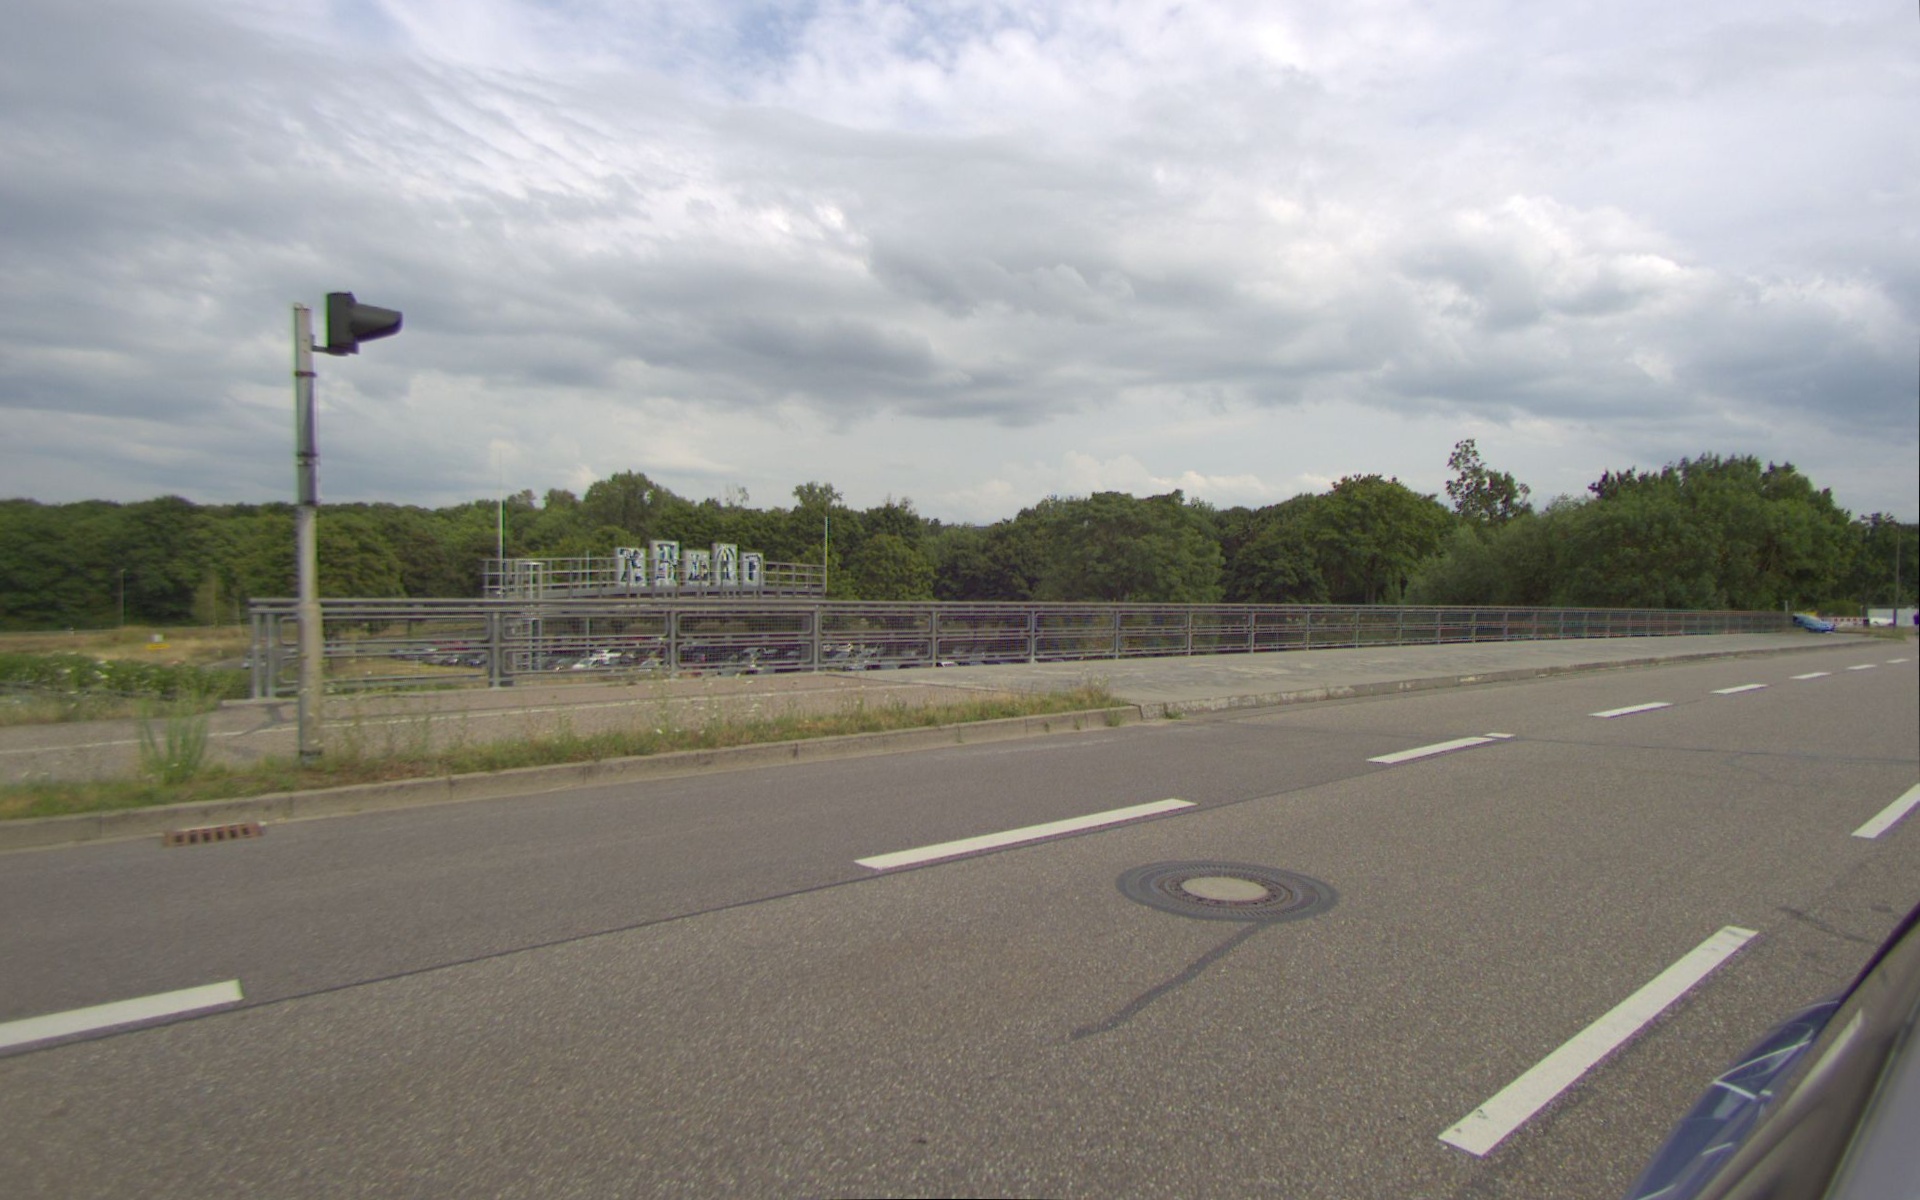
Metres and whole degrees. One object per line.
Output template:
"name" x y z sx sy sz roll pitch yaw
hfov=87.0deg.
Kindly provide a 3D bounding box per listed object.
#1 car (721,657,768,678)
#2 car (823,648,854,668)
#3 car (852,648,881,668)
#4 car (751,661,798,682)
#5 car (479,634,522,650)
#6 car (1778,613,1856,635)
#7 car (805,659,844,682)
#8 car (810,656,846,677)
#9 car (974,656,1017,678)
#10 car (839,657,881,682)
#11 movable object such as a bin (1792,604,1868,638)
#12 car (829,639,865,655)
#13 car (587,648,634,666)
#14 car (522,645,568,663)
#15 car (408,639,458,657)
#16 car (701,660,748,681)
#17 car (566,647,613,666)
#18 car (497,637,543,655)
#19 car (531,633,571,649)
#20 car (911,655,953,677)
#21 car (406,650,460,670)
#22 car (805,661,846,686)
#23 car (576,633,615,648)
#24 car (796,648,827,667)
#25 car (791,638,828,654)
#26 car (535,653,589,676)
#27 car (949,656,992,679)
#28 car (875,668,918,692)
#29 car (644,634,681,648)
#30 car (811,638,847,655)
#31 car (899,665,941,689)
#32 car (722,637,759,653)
"car" -19.198 5.973 90.357 1.982 1.594 3.959 0 0 29
"car" -11.325 5.415 94.582 1.966 1.594 3.992 0 0 7
"car" -8.733 5.390 94.603 1.966 1.594 3.992 0 0 7
"car" -16.129 6.214 88.273 1.982 1.594 3.959 0 0 29
"car" -50.997 4.639 112.300 1.982 1.594 3.959 0 0 29
"car" 61.776 1.717 73.051 1.840 1.537 4.007 0 0 -12
"car" -11.175 5.776 83.162 1.959 1.594 4.006 1 0 -27
"car" -11.536 5.781 88.407 1.959 1.594 4.006 1 0 -27
"car" 2.977 5.585 84.974 1.959 1.594 4.006 1 0 -27
"car" -7.840 5.410 79.137 1.959 1.594 4.006 1 0 -27
"movable object such as a bin" 73.506 1.730 85.562 2.062 2.723 4.516 1 0 -35
"car" -12.030 5.027 108.292 1.982 1.594 3.960 0 0 28
"car" -33.681 5.481 97.628 1.982 1.594 3.959 0 0 29
"car" -41.694 5.434 101.683 1.982 1.594 3.959 0 0 29
"car" -51.664 4.708 99.305 1.982 1.594 3.959 0 0 29
"car" -21.270 6.362 91.496 1.982 1.594 3.959 0 0 29
"car" -36.053 5.466 98.621 1.982 1.594 3.959 0 0 29
"car" -44.768 4.647 103.051 1.982 1.594 3.959 0 0 29
"car" -46.671 4.674 115.533 1.982 1.594 3.959 0 0 29
"car" -2.384 5.549 85.025 1.959 1.594 4.006 1 0 -27
"car" -48.135 5.429 92.431 1.982 1.594 3.959 0 0 29
"car" -10.436 5.642 78.140 1.959 1.594 4.006 1 0 -27
"car" -42.387 4.707 117.620 1.982 1.594 3.959 0 0 29
"car" -13.982 5.398 95.452 1.966 1.594 3.992 0 0 7
"car" -16.311 5.002 109.807 1.982 1.594 3.960 0 0 28
"car" -33.597 5.423 85.473 1.982 1.594 3.959 0 0 29
"car" 0.834 5.568 84.120 1.959 1.594 4.006 1 0 -27
"car" -5.045 6.318 80.234 1.959 1.594 4.006 1 0 -27
"car" -35.064 4.822 119.339 1.982 1.594 3.960 0 0 28
"car" -14.107 5.014 109.338 1.982 1.594 3.960 0 0 28
"car" -3.243 6.198 81.775 1.959 1.594 4.006 1 0 -27
"car" -24.650 5.065 113.610 1.982 1.594 3.960 0 0 28
